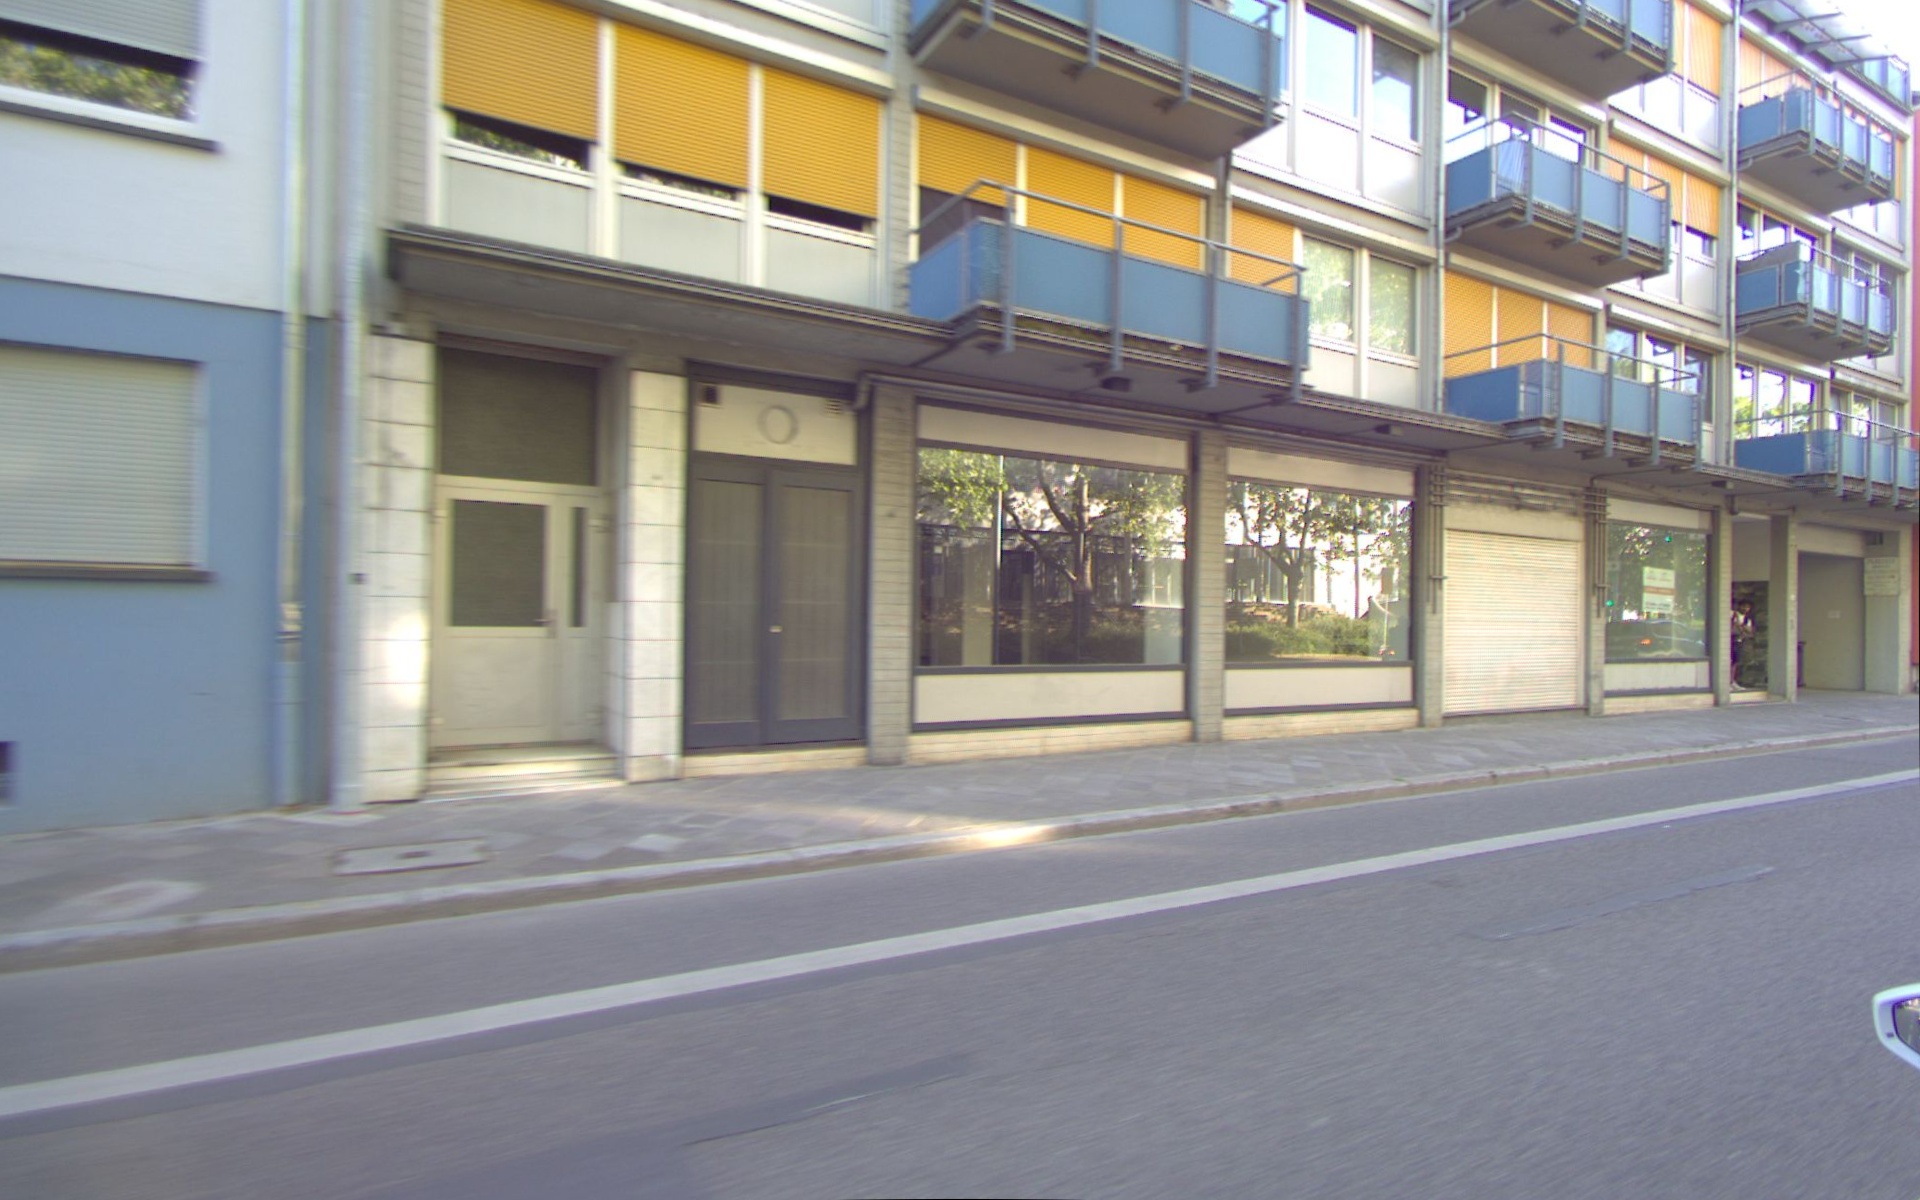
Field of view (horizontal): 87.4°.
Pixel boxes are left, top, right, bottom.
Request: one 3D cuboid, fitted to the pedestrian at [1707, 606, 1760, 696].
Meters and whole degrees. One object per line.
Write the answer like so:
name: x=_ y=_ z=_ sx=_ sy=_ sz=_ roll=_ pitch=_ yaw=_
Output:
pedestrian: x=14.003 y=0.910 z=18.176 sx=0.747 sy=1.600 sz=0.511 roll=1 pitch=0 yaw=-30
